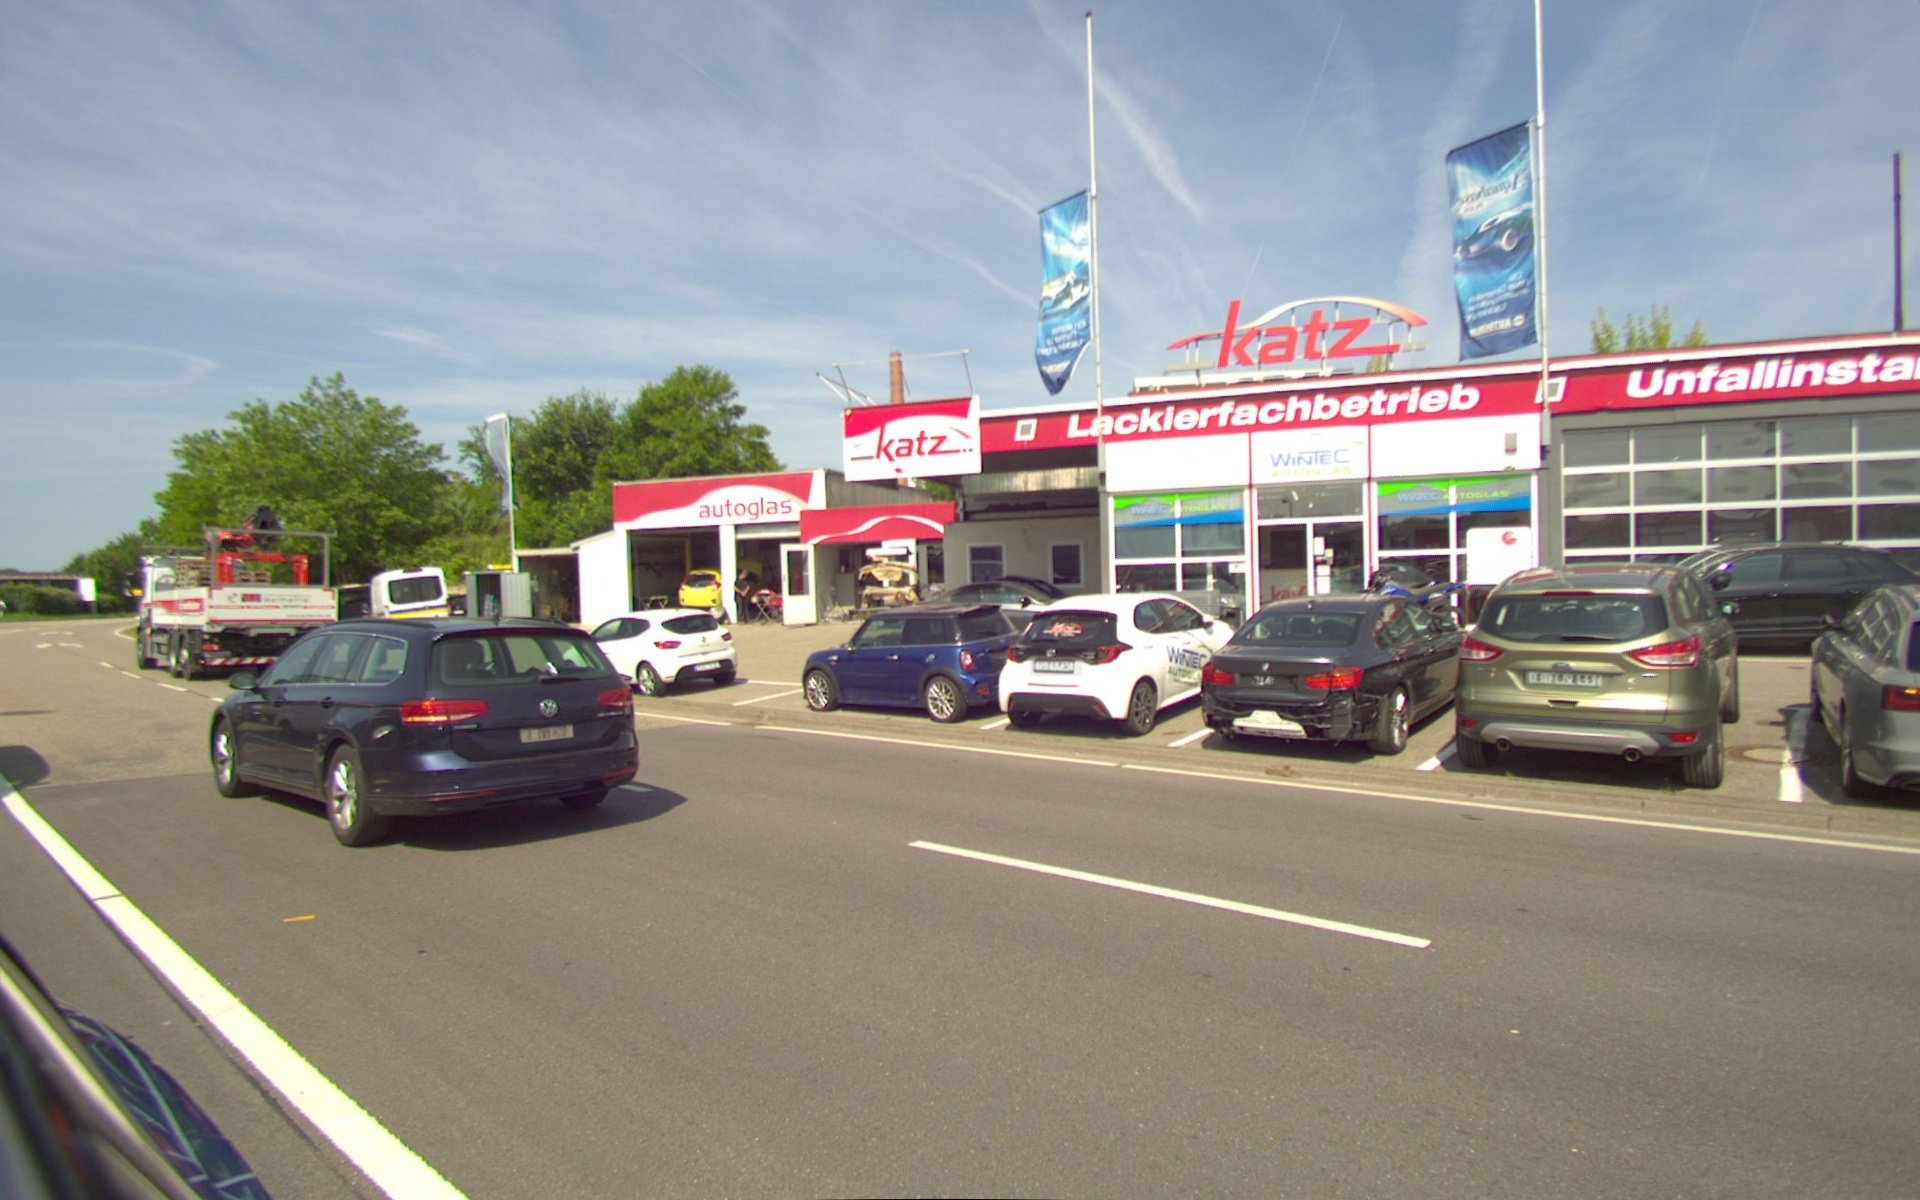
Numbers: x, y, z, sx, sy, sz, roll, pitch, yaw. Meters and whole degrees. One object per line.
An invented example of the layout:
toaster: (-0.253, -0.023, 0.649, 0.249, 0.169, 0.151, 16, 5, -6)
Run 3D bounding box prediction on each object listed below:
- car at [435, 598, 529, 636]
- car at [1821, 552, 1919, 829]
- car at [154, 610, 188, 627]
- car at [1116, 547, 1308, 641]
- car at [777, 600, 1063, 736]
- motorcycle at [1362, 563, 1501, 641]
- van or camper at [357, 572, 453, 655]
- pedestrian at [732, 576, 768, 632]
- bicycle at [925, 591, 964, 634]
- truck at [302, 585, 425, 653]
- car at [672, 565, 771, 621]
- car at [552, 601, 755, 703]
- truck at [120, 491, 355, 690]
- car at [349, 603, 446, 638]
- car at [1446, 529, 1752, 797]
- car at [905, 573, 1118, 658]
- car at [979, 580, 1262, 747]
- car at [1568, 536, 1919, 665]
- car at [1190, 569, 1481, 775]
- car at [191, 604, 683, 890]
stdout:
car: (-20.927, 0.721, 44.467, 1.725, 1.541, 3.650, -1, 1, 18)
car: (7.688, 0.478, 7.445, 1.834, 1.495, 4.238, -1, 4, 38)
car: (-79.720, 1.840, 102.324, 1.908, 1.687, 4.013, 0, -1, -27)
car: (5.288, -0.138, 21.370, 3.727, 1.772, 1.696, -2, 3, 16)
car: (-0.641, 0.848, 14.180, 3.781, 1.504, 1.761, -1, 4, 42)
motorcycle: (7.932, 0.045, 17.145, 2.039, 1.271, 0.767, -1, 0, 20)
van or camper: (-19.573, 0.447, 35.537, 2.126, 2.517, 5.965, -6, 3, -35)
pedestrian: (-6.762, 0.123, 32.634, 0.895, 1.775, 0.714, 0, 1, 44)
bicycle: (-0.413, 0.318, 27.875, 0.412, 0.978, 1.987, -1, 5, 19)
truck: (-24.667, 0.735, 41.609, 2.304, 2.313, 8.811, -8, 5, -43)
car: (-8.423, -0.294, 36.062, 1.725, 1.737, 3.650, -2, 3, 18)
car: (-5.736, 0.883, 18.719, 3.999, 1.630, 1.760, -1, 1, 42)
truck: (-19.061, -0.078, 26.292, 10.647, 4.241, 2.924, -2, -2, 43)
car: (-26.496, 0.947, 47.784, 1.711, 1.522, 3.631, -1, 1, 32)
car: (5.805, 0.344, 8.964, 1.805, 1.729, 3.849, -1, 4, 39)
car: (1.180, 0.338, 22.621, 4.360, 1.515, 1.849, -4, 2, 18)
car: (2.125, 0.649, 12.595, 1.844, 1.536, 3.761, -1, 3, 38)
car: (11.719, -0.033, 15.148, 4.089, 1.686, 1.820, 0, 6, 15)
car: (4.065, 0.587, 10.592, 1.790, 1.536, 3.674, -1, 4, 38)
car: (-4.168, 0.855, 7.715, 4.383, 1.571, 1.788, -1, -1, 40)
